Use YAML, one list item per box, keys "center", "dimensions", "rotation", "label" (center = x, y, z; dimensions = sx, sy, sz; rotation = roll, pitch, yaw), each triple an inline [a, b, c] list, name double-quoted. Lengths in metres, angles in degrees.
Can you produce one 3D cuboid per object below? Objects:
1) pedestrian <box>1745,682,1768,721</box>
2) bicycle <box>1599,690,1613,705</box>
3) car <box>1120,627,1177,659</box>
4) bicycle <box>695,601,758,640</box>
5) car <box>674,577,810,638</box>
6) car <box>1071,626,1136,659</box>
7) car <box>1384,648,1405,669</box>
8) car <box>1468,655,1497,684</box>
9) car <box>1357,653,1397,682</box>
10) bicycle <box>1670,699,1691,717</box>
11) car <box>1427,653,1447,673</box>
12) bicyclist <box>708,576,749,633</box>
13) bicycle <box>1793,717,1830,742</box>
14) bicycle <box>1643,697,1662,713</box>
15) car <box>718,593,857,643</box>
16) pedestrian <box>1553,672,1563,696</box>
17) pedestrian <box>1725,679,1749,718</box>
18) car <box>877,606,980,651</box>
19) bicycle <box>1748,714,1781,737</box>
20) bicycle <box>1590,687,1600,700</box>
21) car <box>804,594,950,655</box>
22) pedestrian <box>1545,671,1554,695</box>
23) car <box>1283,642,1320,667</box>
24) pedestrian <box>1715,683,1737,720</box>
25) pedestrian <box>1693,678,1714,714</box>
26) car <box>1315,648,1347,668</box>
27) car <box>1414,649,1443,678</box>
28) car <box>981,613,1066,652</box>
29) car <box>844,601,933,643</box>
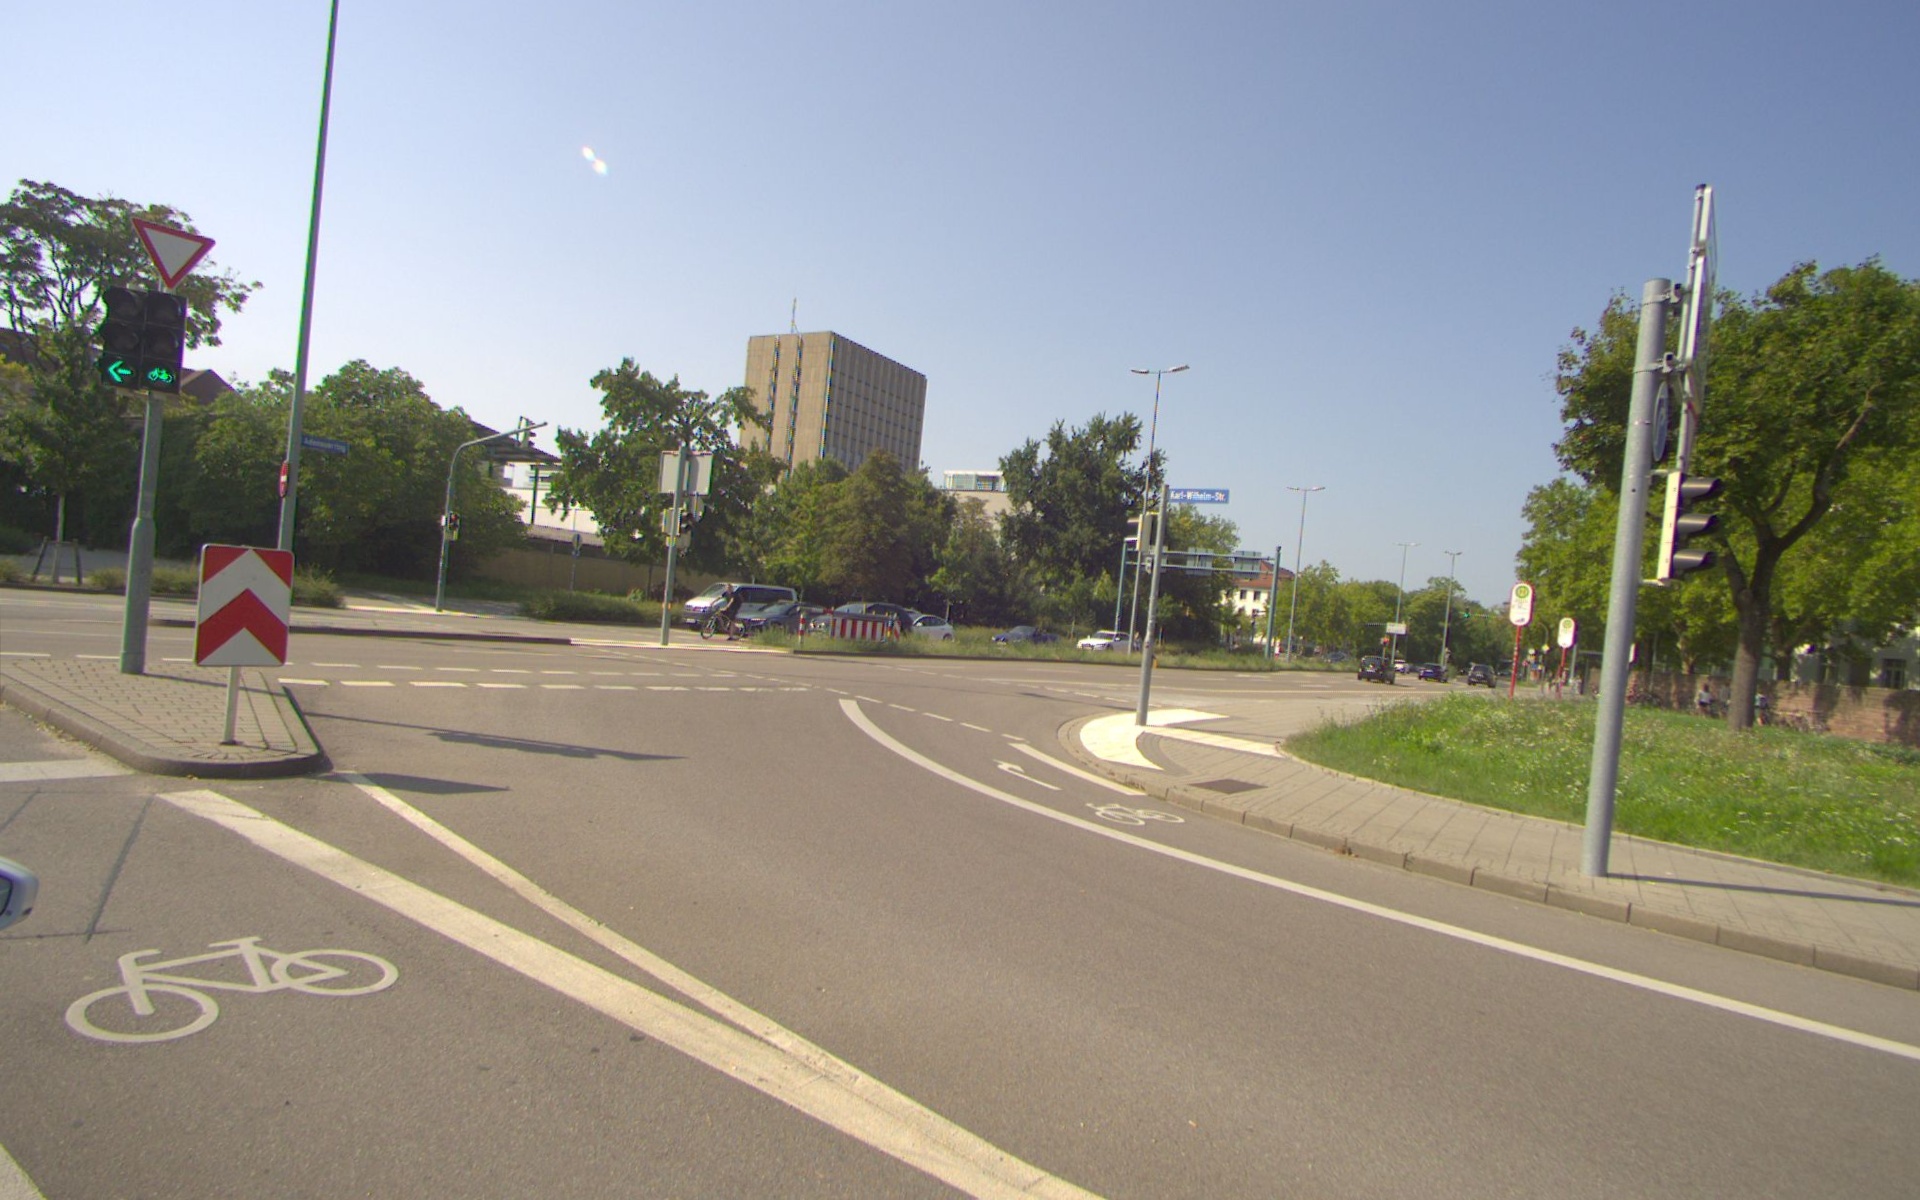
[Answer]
- center: [35.221, 4.493, 44.474]
  dimensions: [0.474, 1.670, 0.595]
  rotation: [7, -1, 16]
  label: "pedestrian"
- center: [44.566, 6.720, 69.411]
  dimensions: [0.426, 0.846, 1.549]
  rotation: [6, 0, 20]
  label: "bicycle"
- center: [11.695, 2.686, 62.187]
  dimensions: [1.901, 1.680, 4.284]
  rotation: [6, 0, 32]
  label: "car"
- center: [-7.314, 0.652, 31.569]
  dimensions: [0.758, 1.066, 1.768]
  rotation: [7, 1, 36]
  label: "bicycle"
- center: [-8.288, 0.339, 38.721]
  dimensions: [1.820, 1.898, 4.952]
  rotation: [6, 0, 39]
  label: "car"
- center: [8.133, 2.423, 56.761]
  dimensions: [1.901, 1.524, 4.284]
  rotation: [6, 0, 32]
  label: "car"
- center: [49.745, 6.749, 115.128]
  dimensions: [1.886, 2.036, 4.000]
  rotation: [6, -2, 26]
  label: "car"
- center: [43.994, 5.872, 84.735]
  dimensions: [1.886, 2.036, 4.000]
  rotation: [6, -2, 26]
  label: "car"
- center: [26.823, 4.343, 64.665]
  dimensions: [1.683, 1.593, 3.991]
  rotation: [6, 0, 31]
  label: "car"
- center: [39.136, 5.852, 54.651]
  dimensions: [0.426, 0.846, 1.550]
  rotation: [6, 0, 19]
  label: "bicycle"
- center: [56.207, 7.468, 118.641]
  dimensions: [1.886, 2.036, 4.000]
  rotation: [6, -2, 26]
  label: "car"
- center: [-7.259, 0.143, 31.560]
  dimensions: [0.737, 1.656, 0.872]
  rotation: [6, 1, 37]
  label: "bicyclist"
- center: [35.734, 5.446, 42.236]
  dimensions: [0.425, 0.846, 1.551]
  rotation: [6, 0, 11]
  label: "bicycle"
- center: [40.392, 6.118, 58.664]
  dimensions: [0.426, 0.846, 1.550]
  rotation: [6, 0, 19]
  label: "bicycle"
- center: [-6.217, 0.692, 36.718]
  dimensions: [1.884, 1.418, 4.899]
  rotation: [6, 0, 39]
  label: "car"
- center: [46.178, 6.470, 77.719]
  dimensions: [0.478, 1.760, 0.504]
  rotation: [6, -1, 31]
  label: "pedestrian"
- center: [34.416, 4.352, 44.572]
  dimensions: [0.510, 1.670, 0.595]
  rotation: [7, -1, 16]
  label: "pedestrian"
- center: [-1.302, 1.257, 43.385]
  dimensions: [1.971, 1.524, 4.416]
  rotation: [6, 0, 39]
  label: "car"
- center: [36.417, 5.679, 45.544]
  dimensions: [0.425, 0.846, 1.551]
  rotation: [6, 0, 11]
  label: "bicycle"
- center: [48.028, 7.054, 76.082]
  dimensions: [0.426, 0.846, 1.548]
  rotation: [6, 0, 27]
  label: "bicycle"
- center: [-2.567, 0.826, 32.327]
  dimensions: [1.828, 1.597, 4.692]
  rotation: [4, -2, 40]
  label: "car"
- center: [45.805, 6.440, 78.160]
  dimensions: [0.478, 1.760, 0.504]
  rotation: [6, -1, 31]
  label: "pedestrian"
- center: [25.694, 4.123, 75.647]
  dimensions: [1.683, 1.593, 3.991]
  rotation: [6, 0, 31]
  label: "car"
- center: [36.001, 4.758, 47.281]
  dimensions: [0.474, 1.670, 0.595]
  rotation: [7, -1, 16]
  label: "pedestrian"
- center: [34.894, 4.497, 47.214]
  dimensions: [0.525, 1.589, 0.503]
  rotation: [7, -1, 14]
  label: "pedestrian"
- center: [35.525, 5.578, 96.201]
  dimensions: [1.901, 1.680, 4.284]
  rotation: [6, 0, 32]
  label: "car"
- center: [39.061, 5.273, 83.844]
  dimensions: [1.886, 2.036, 4.000]
  rotation: [6, -2, 26]
  label: "car"
- center: [3.166, 1.618, 49.484]
  dimensions: [1.971, 1.524, 4.277]
  rotation: [6, 0, 38]
  label: "car"
- center: [-3.219, 1.013, 45.932]
  dimensions: [1.784, 1.524, 3.951]
  rotation: [6, 0, 39]
  label: "car"
